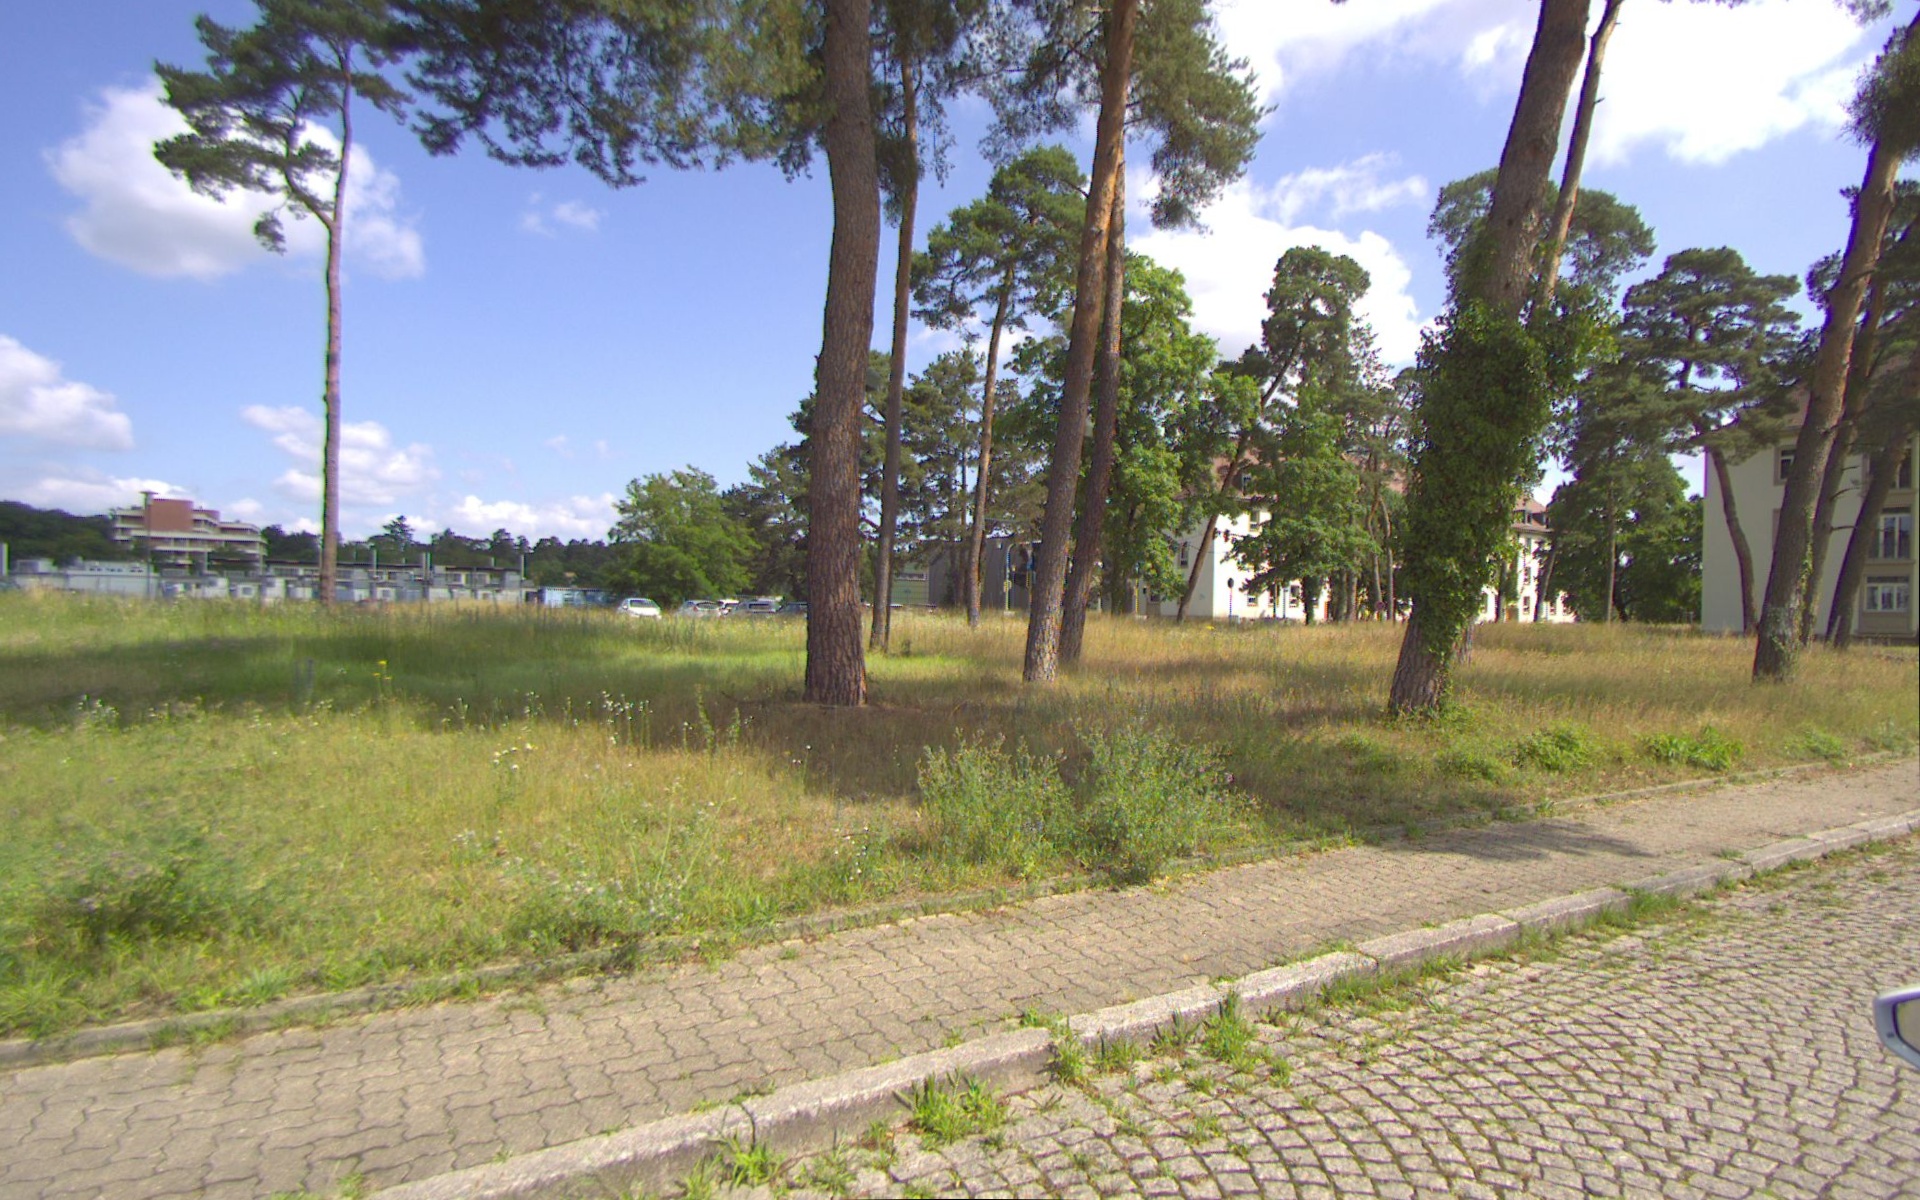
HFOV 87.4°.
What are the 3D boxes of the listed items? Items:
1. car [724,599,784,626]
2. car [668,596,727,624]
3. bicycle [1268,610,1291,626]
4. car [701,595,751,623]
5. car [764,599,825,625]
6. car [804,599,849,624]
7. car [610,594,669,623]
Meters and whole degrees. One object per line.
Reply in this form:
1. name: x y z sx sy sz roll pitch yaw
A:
1. car: -11.004 0.638 53.492 1.880 1.337 4.044 2 -1 -32
2. car: -13.826 0.507 52.781 1.880 1.356 4.044 2 -1 -32
3. bicycle: 22.970 1.285 72.200 1.562 1.115 0.489 1 0 -20
4. car: -15.037 0.579 64.380 1.880 1.725 4.044 1 -1 -32
5. car: -9.093 0.657 54.871 1.880 1.327 4.044 2 -1 -32
6. car: -10.171 0.836 76.397 1.880 1.803 4.044 1 -1 -32
7. car: -16.239 0.434 50.795 1.880 1.367 4.036 2 -1 -32
